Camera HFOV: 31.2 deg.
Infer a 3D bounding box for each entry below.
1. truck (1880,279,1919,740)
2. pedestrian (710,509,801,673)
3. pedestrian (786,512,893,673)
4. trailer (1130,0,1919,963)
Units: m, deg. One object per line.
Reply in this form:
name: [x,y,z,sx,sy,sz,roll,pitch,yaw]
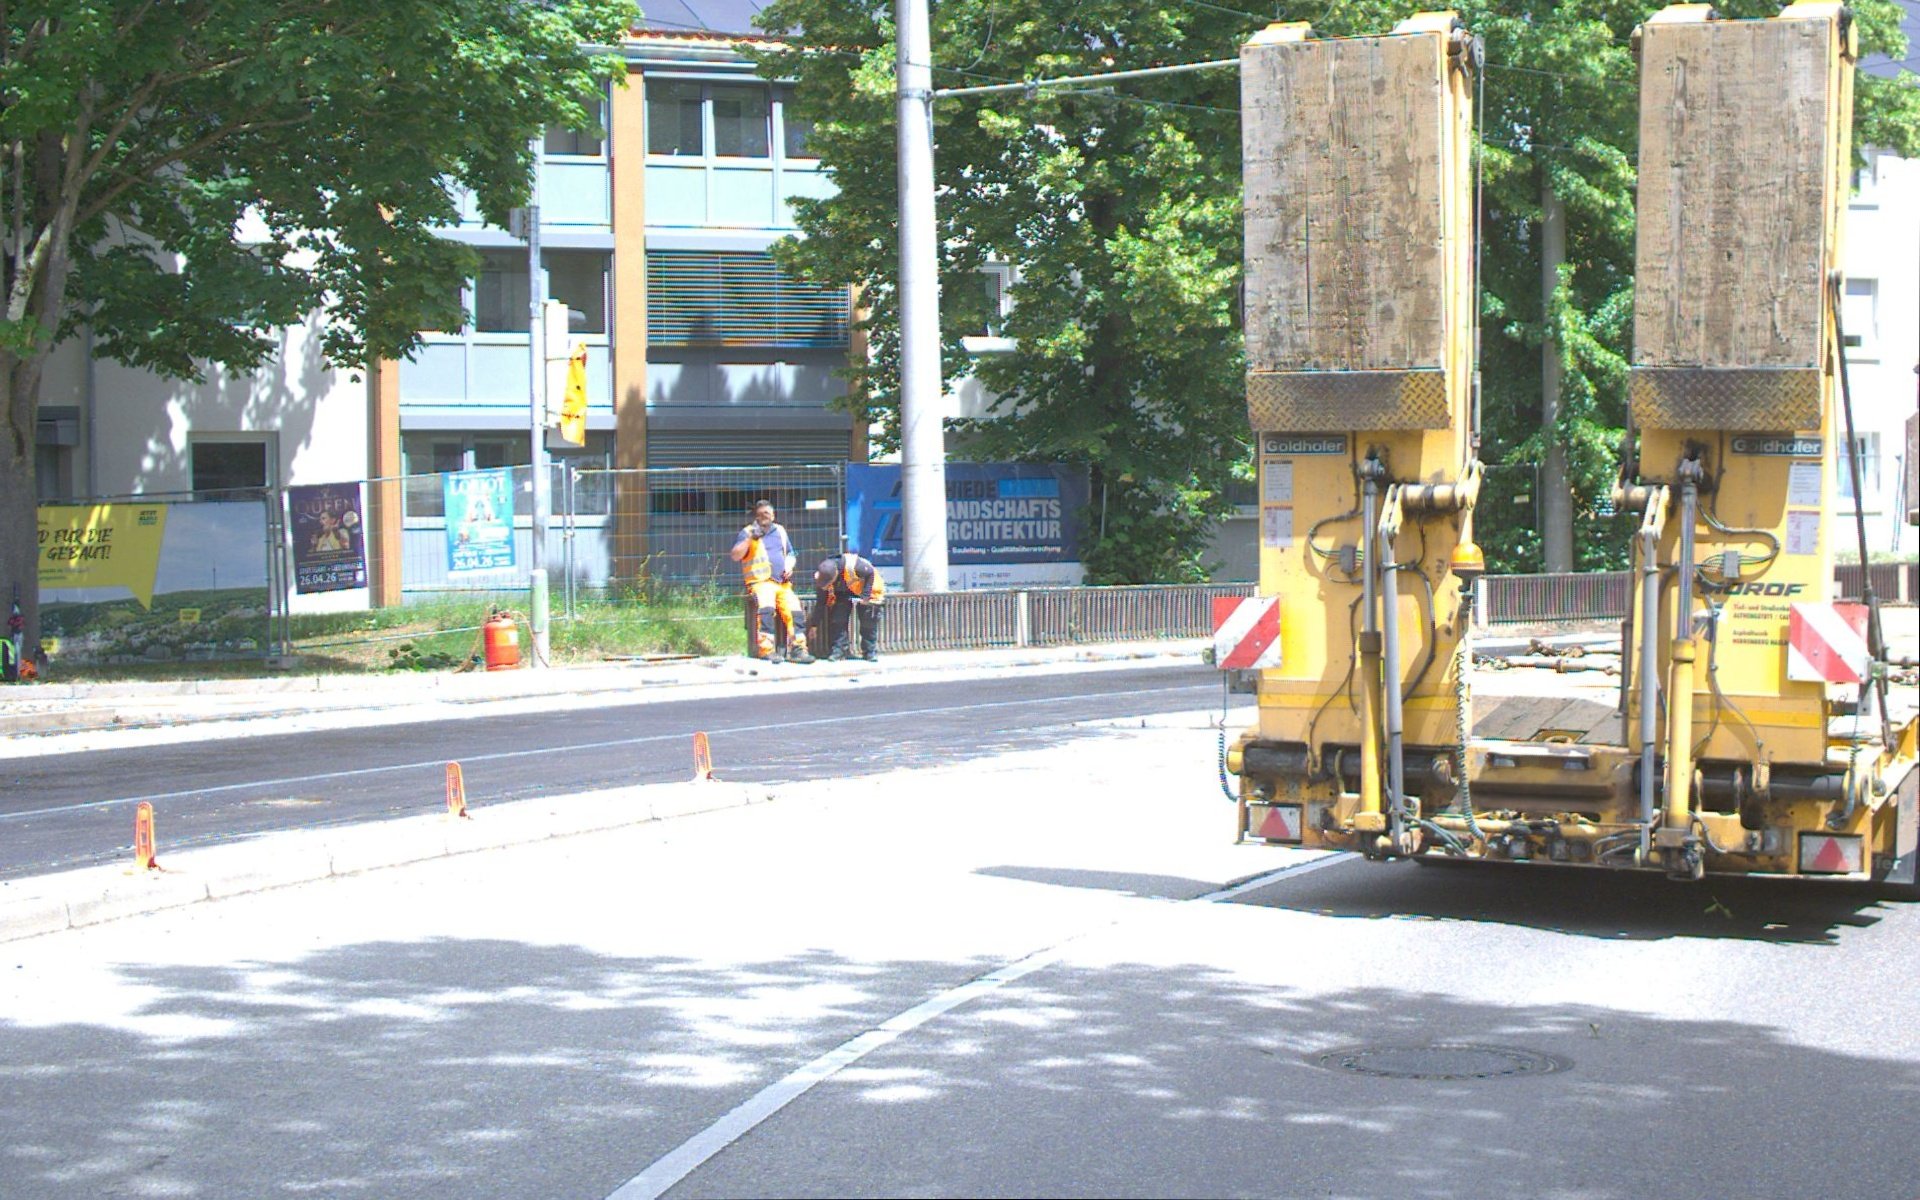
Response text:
truck: [10.144,-0.679,25.340,7.659,3.156,2.925,-2,3,-44]
pedestrian: [-1.970,-0.090,33.025,0.759,1.535,0.798,-1,1,-10]
pedestrian: [-1.176,-0.077,33.302,0.904,1.527,0.841,-1,1,-10]
trailer: [4.417,-0.624,17.849,2.827,3.512,11.036,2,2,26]
